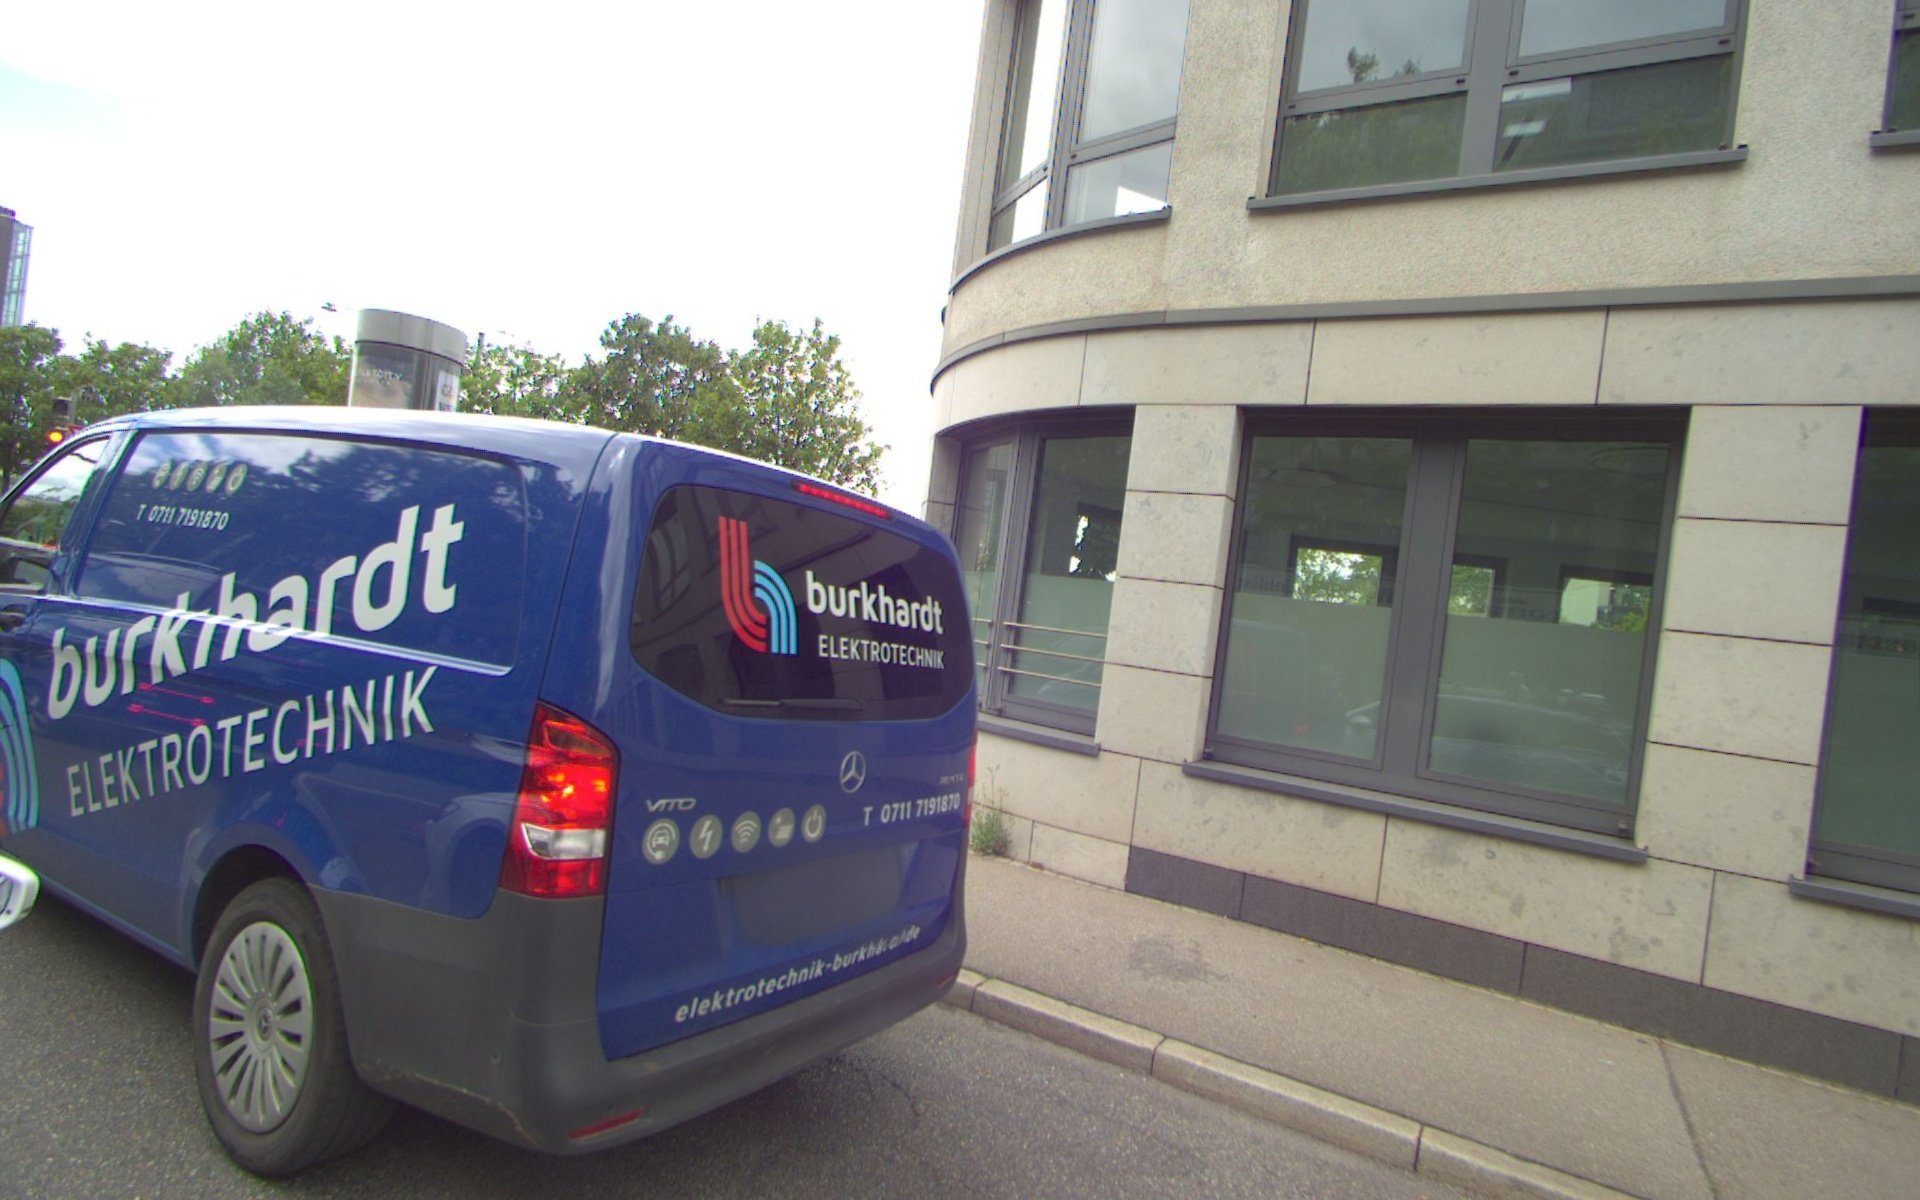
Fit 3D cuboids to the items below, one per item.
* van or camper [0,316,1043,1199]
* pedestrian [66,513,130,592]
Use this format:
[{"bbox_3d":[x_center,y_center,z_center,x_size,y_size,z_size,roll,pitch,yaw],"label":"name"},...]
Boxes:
[{"bbox_3d":[-2.403,0.303,3.846,4.949,1.934,1.862,7,-1,32],"label":"van or camper"},{"bbox_3d":[-19.002,-1.028,22.197,0.564,1.602,0.740,9,-2,-8],"label":"pedestrian"}]
